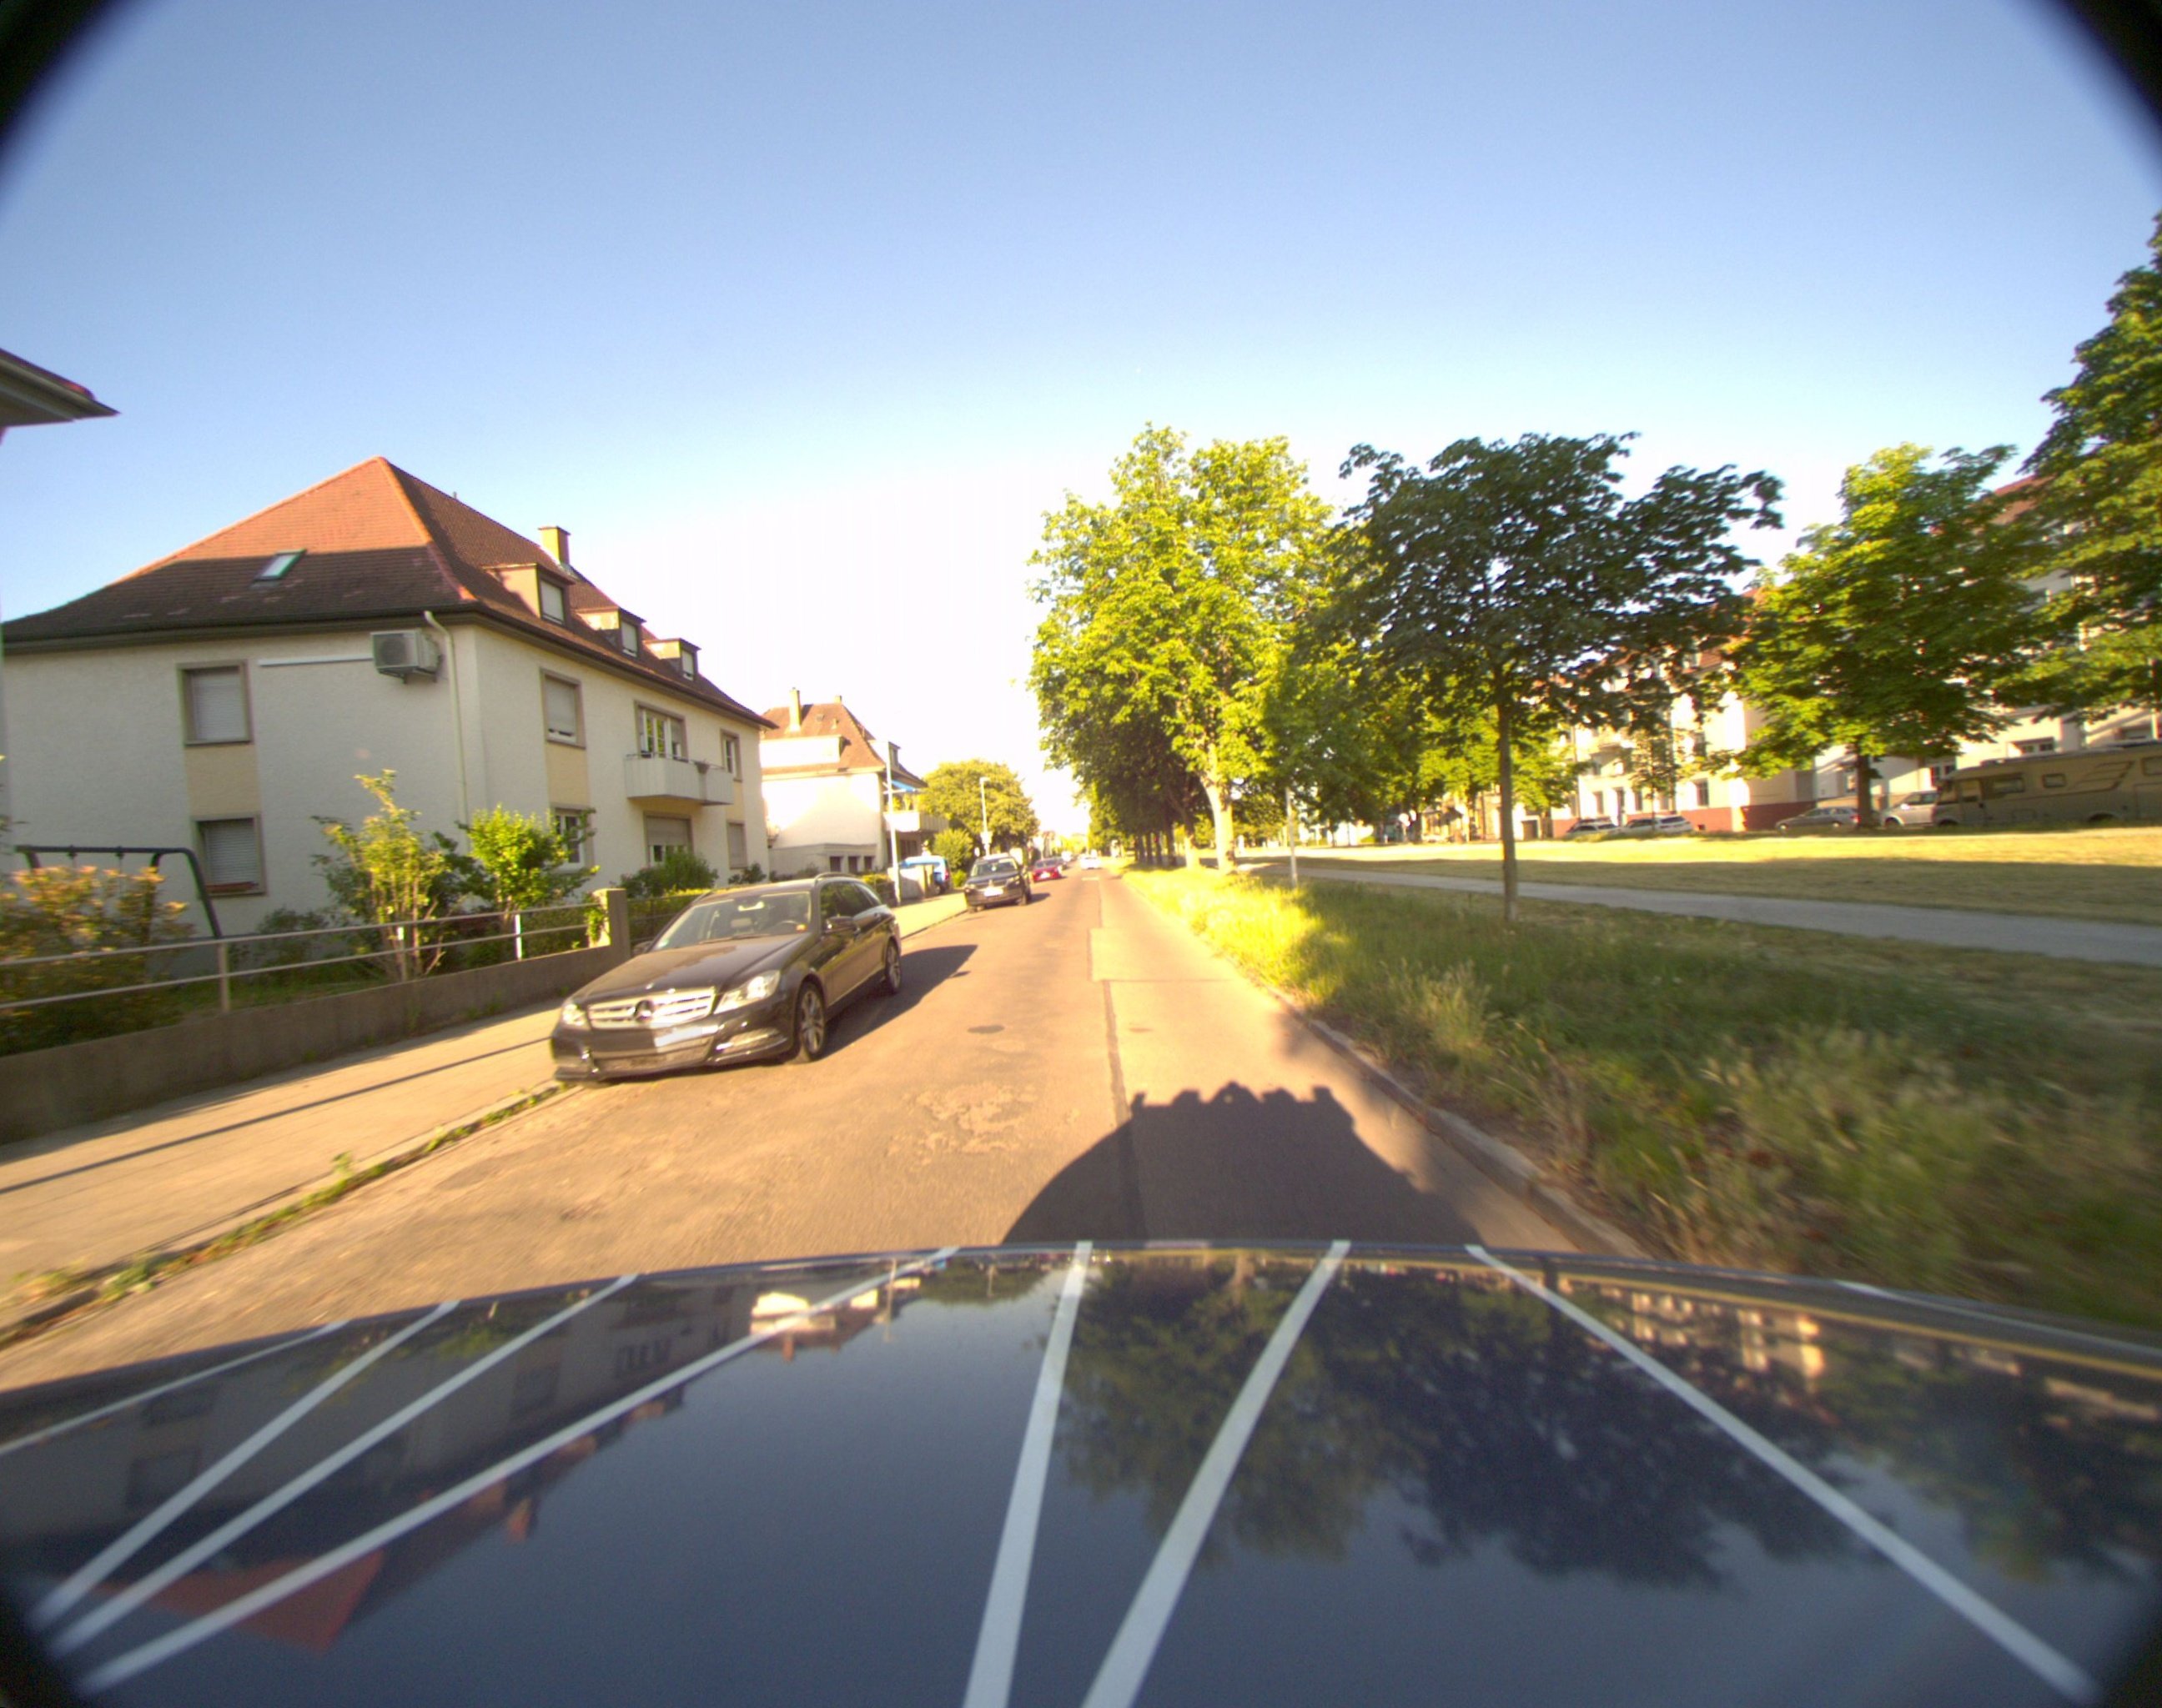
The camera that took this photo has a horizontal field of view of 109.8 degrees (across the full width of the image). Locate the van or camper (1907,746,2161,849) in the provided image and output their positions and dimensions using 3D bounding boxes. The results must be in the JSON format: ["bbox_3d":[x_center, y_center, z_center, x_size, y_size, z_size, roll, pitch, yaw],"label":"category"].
[{"bbox_3d":[34.585,-1.839,26.374,3.262,3.092,7.897,-3,0,2],"label":"van or camper"}]

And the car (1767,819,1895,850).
[{"bbox_3d":[40.364,-0.995,41.100,1.999,1.445,4.875,-4,0,-1],"label":"car"}]

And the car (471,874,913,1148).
[{"bbox_3d":[-3.014,1.081,7.153,1.784,1.490,4.397,-6,0,-1],"label":"car"}]

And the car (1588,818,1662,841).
[{"bbox_3d":[40.718,-1.779,57.040,1.999,1.445,4.875,-4,0,-1],"label":"car"}]

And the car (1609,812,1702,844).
[{"bbox_3d":[34.730,-1.548,46.157,1.998,1.680,4.876,-3,0,2],"label":"car"}]

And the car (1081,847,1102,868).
[{"bbox_3d":[1.088,0.324,78.362,1.998,2.002,4.000,-4,0,1],"label":"car"}]

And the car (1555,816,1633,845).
[{"bbox_3d":[34.757,-1.563,51.682,1.998,1.680,4.876,-3,0,2],"label":"car"}]

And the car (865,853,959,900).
[{"bbox_3d":[-8.017,1.038,36.331,3.998,1.917,2.000,-4,0,-2],"label":"car"}]

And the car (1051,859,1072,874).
[{"bbox_3d":[-2.172,1.377,84.939,1.998,1.575,4.347,-4,0,1],"label":"car"}]

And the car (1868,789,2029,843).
[{"bbox_3d":[40.427,-1.674,35.631,1.998,2.189,4.876,-3,0,3],"label":"car"}]

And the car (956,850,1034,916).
[{"bbox_3d":[-2.695,0.867,24.948,1.862,1.710,4.467,-9,0,-1],"label":"car"}]

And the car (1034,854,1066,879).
[{"bbox_3d":[-2.049,0.820,50.969,1.824,1.486,4.224,-4,0,0],"label":"car"}]

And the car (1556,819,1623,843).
[{"bbox_3d":[41.082,-1.809,61.572,1.999,1.680,4.875,-4,0,-1],"label":"car"}]
